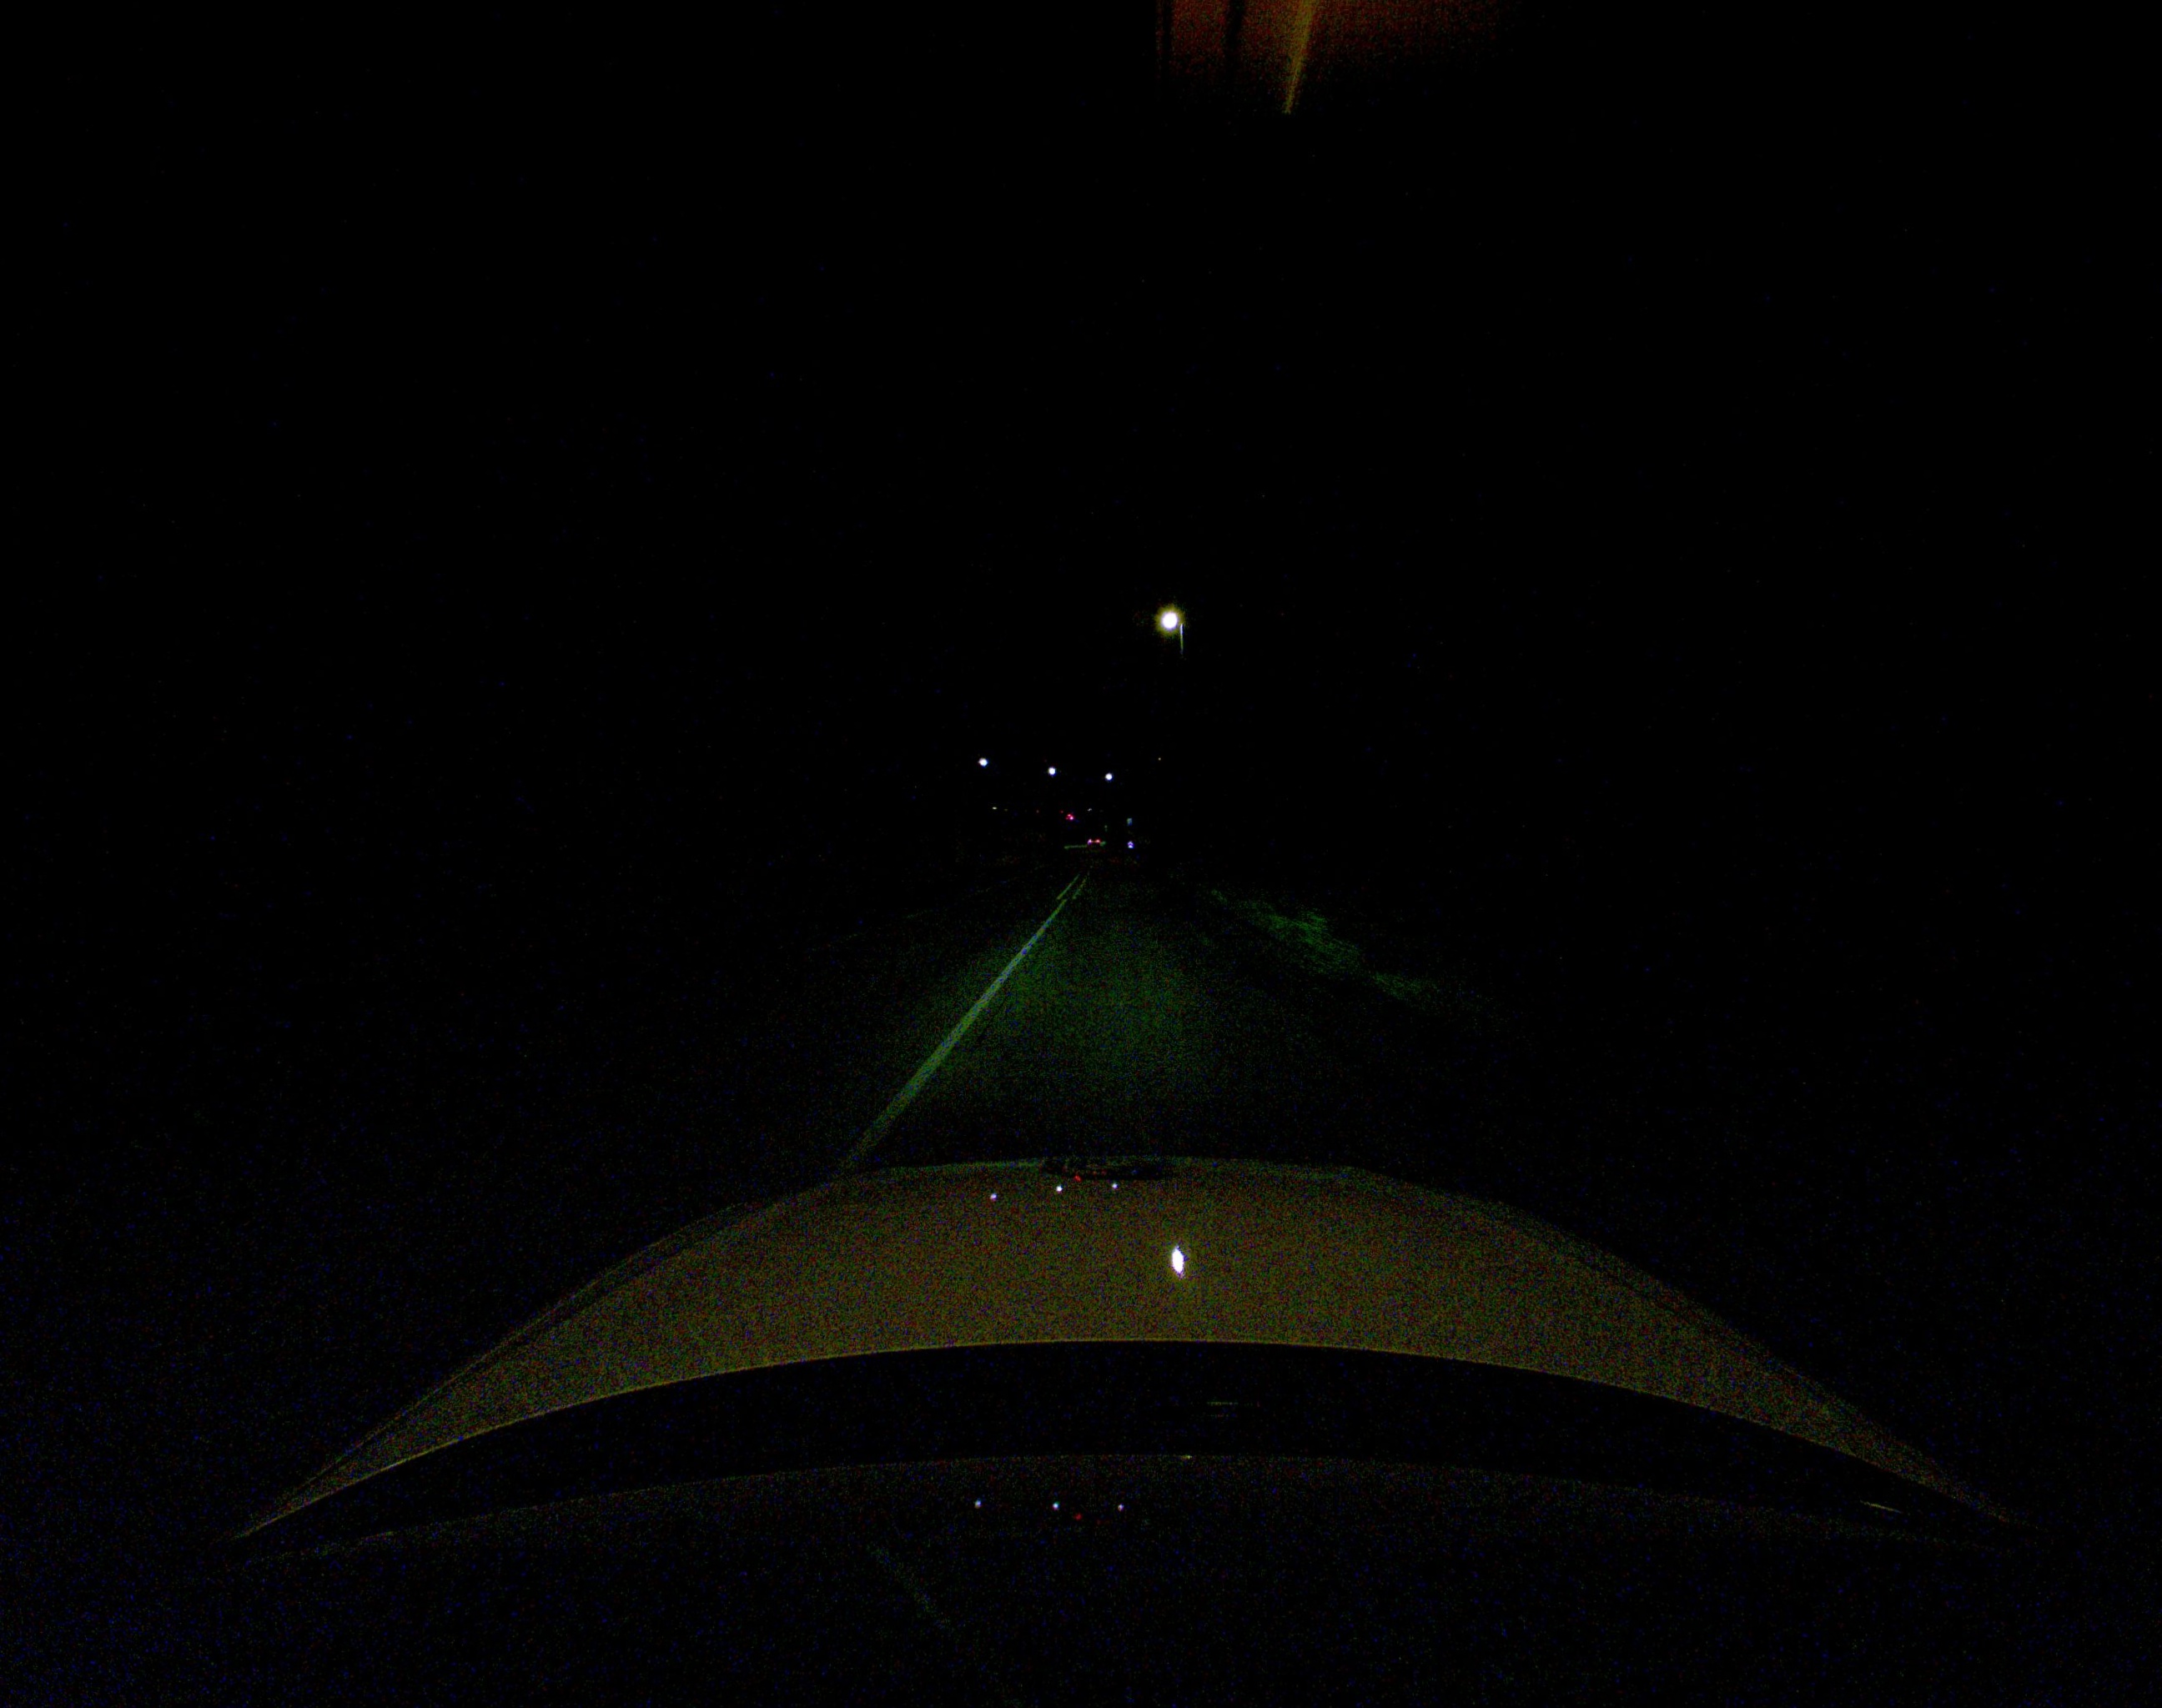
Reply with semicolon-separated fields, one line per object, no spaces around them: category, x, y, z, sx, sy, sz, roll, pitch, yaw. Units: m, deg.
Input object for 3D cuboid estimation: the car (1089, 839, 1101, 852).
car;2.402;-1.417;139.156;1.911;2.014;4.124;1;0;2
